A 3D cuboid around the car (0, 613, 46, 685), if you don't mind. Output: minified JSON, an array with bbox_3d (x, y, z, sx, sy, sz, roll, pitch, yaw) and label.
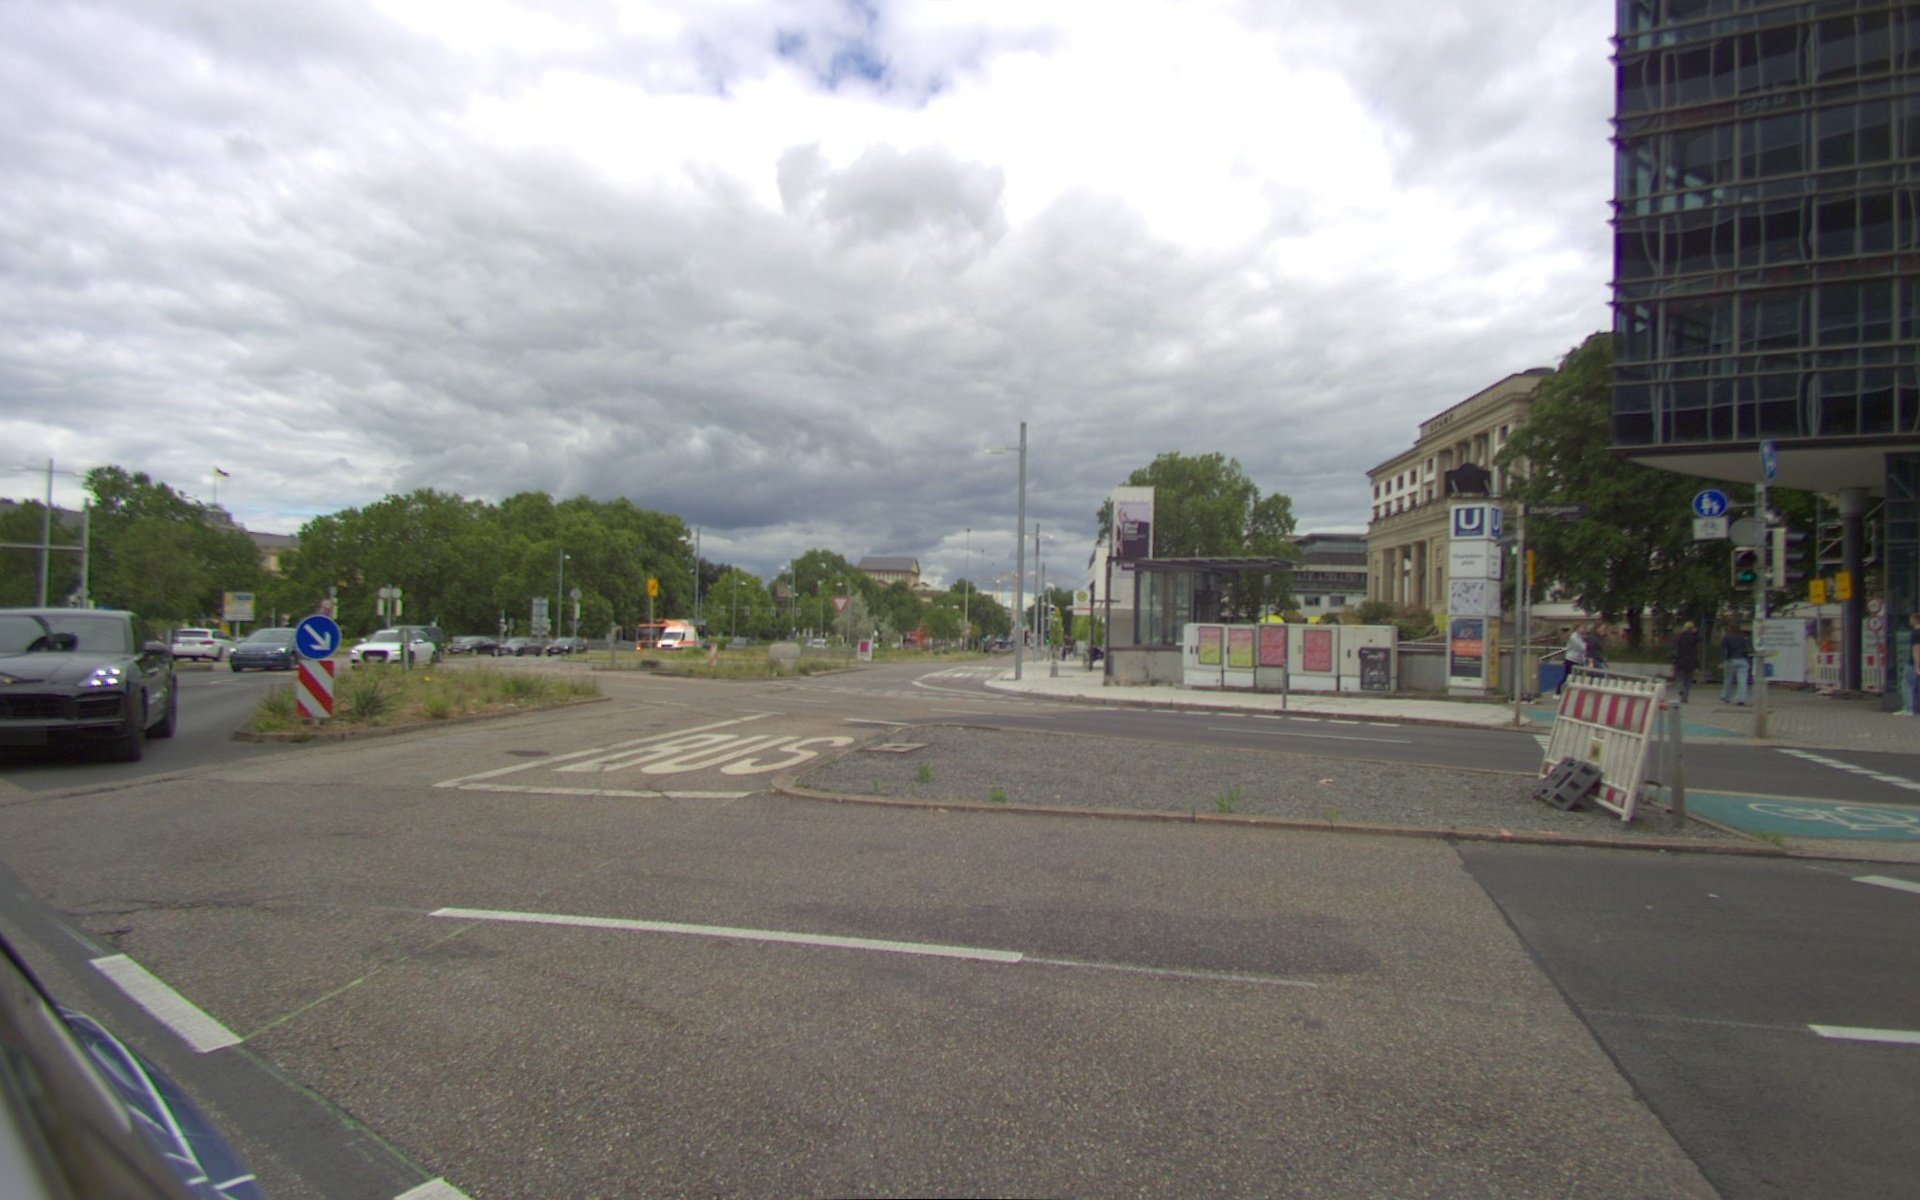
[{"bbox_3d":[-22.648,1.081,23.212,1.967,1.558,4.579,2,-2,-36],"label":"car"}]

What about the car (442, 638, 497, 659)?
[{"bbox_3d":[-33.737,3.330,69.716,1.755,1.283,3.850,0,-1,4],"label":"car"}]

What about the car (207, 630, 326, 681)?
[{"bbox_3d":[-23.758,1.852,34.857,1.967,1.614,4.009,0,-2,-12],"label":"car"}]

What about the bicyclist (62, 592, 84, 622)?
[{"bbox_3d":[-49.072,0.403,55.995,0.502,1.652,0.715,-1,-3,25],"label":"bicyclist"}]

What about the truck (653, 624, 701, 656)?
[{"bbox_3d":[-25.558,3.608,91.627,1.934,2.805,5.773,0,-3,8],"label":"truck"}]

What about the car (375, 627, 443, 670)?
[{"bbox_3d":[-27.477,2.415,50.620,1.829,2.003,4.654,2,-2,-14],"label":"car"}]

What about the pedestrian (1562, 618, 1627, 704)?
[{"bbox_3d":[12.484,1.177,19.905,0.965,1.625,0.646,2,0,40],"label":"pedestrian"}]

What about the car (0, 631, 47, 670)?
[{"bbox_3d":[-34.834,1.804,36.121,1.729,1.343,4.427,-1,-1,-19],"label":"car"}]

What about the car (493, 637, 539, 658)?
[{"bbox_3d":[-33.345,3.577,76.121,1.755,1.475,3.579,0,-1,4],"label":"car"}]

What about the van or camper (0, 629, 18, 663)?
[{"bbox_3d":[-56.383,2.625,58.700,4.707,1.931,1.842,-1,-2,38],"label":"van or camper"}]

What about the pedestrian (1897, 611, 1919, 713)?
[{"bbox_3d":[17.548,1.110,18.062,0.685,1.824,0.934,0,-2,-8],"label":"pedestrian"}]

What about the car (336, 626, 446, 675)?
[{"bbox_3d":[-20.311,1.776,36.353,2.063,1.621,4.420,-1,-2,-9],"label":"car"}]

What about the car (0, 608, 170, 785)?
[{"bbox_3d":[-10.429,0.957,11.512,1.973,1.651,5.033,1,-2,-35],"label":"car"}]

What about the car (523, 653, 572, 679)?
[{"bbox_3d":[-29.679,4.735,73.000,1.836,1.752,3.736,0,-2,3],"label":"car"}]

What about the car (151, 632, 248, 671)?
[{"bbox_3d":[-33.983,2.263,45.386,1.966,1.516,5.055,0,-1,-19],"label":"car"}]

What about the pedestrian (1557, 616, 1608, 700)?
[{"bbox_3d":[12.812,1.174,20.825,0.786,1.643,0.597,2,2,40],"label":"pedestrian"}]

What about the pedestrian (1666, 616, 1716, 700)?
[{"bbox_3d":[15.277,1.208,21.170,0.628,1.713,0.764,-1,-2,21],"label":"pedestrian"}]

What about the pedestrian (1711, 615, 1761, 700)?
[{"bbox_3d":[16.080,1.179,20.979,0.628,1.713,0.639,-1,-2,21],"label":"pedestrian"}]

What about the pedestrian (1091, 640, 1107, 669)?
[{"bbox_3d":[6.428,2.518,46.926,0.699,1.363,0.758,0,-3,11],"label":"pedestrian"}]

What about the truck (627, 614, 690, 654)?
[{"bbox_3d":[-28.935,3.352,97.618,2.693,3.644,9.165,0,-2,4],"label":"truck"}]
